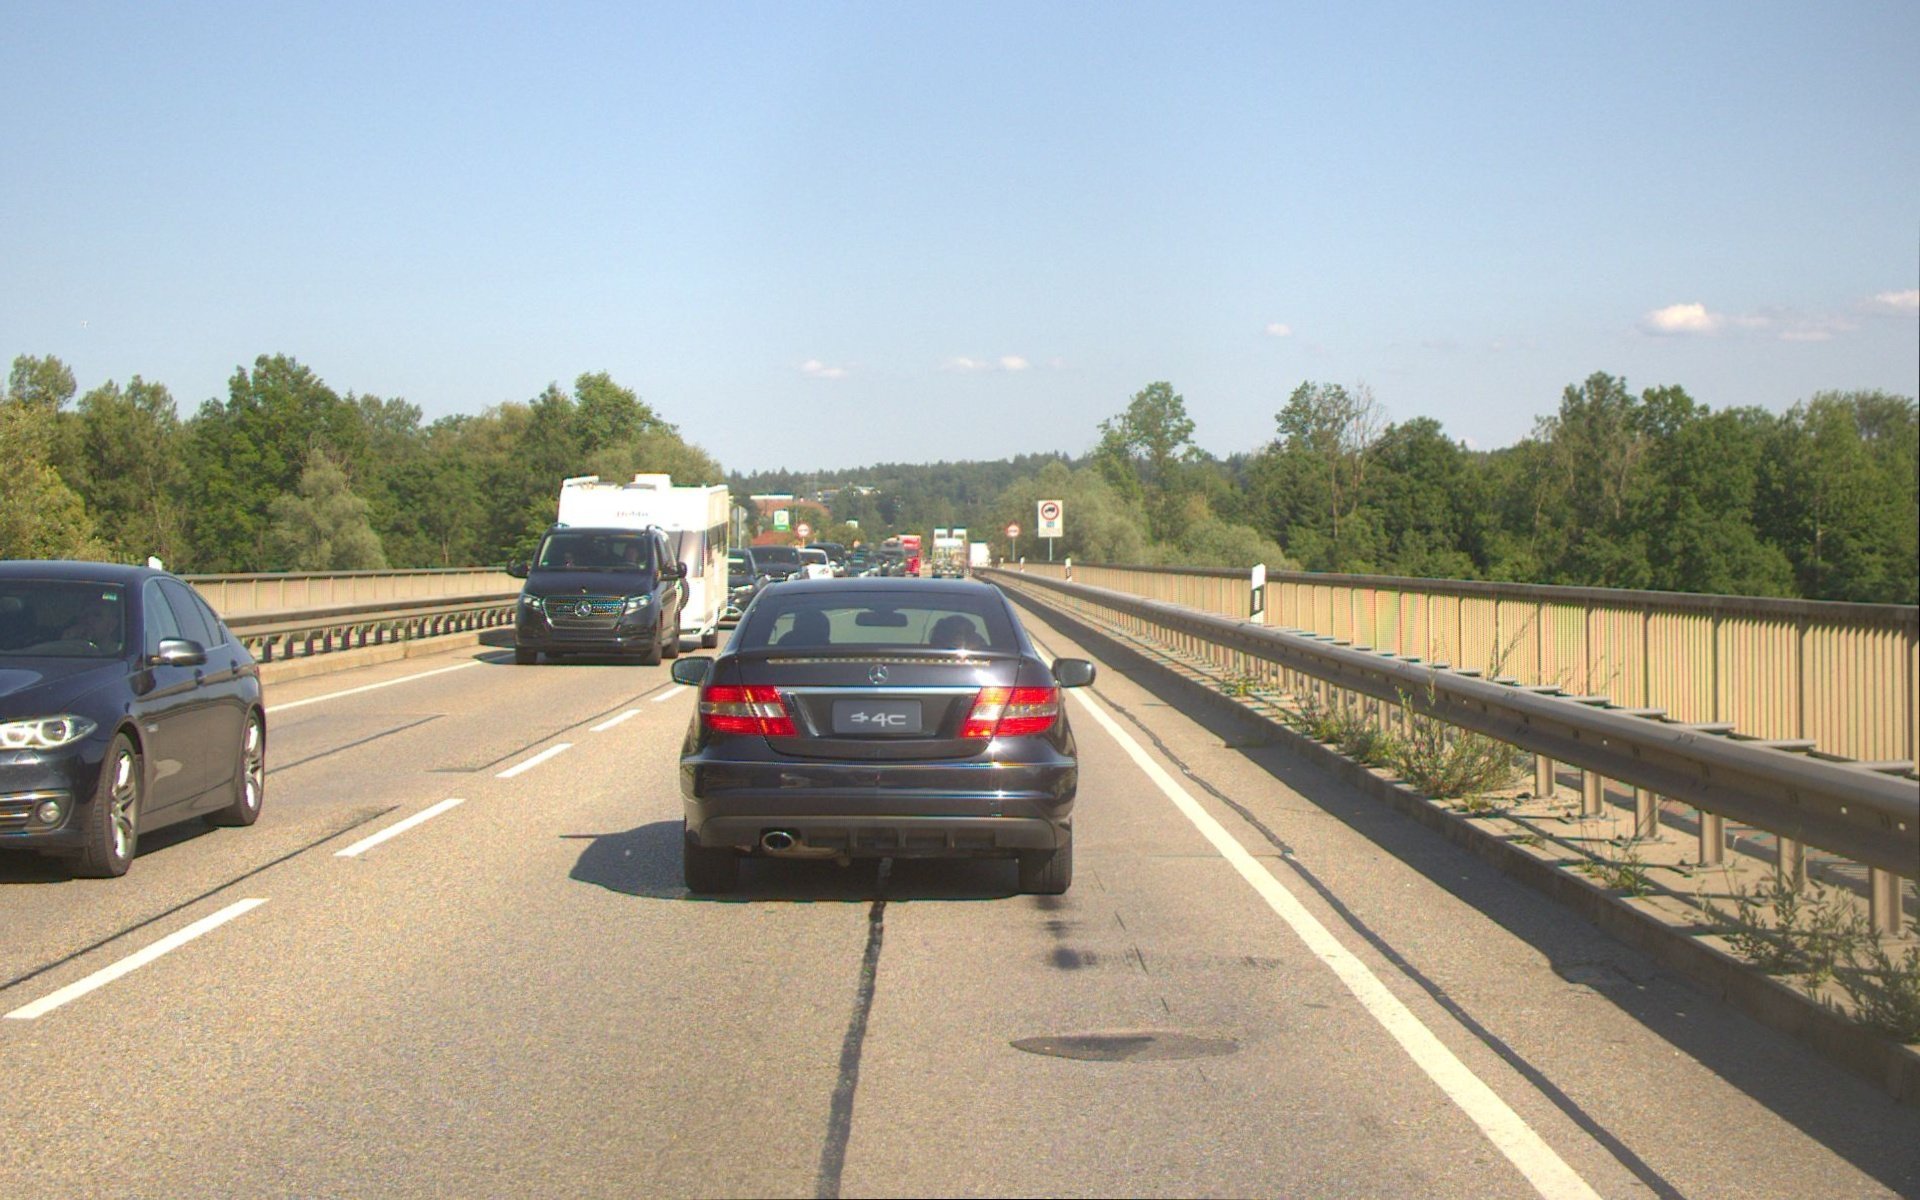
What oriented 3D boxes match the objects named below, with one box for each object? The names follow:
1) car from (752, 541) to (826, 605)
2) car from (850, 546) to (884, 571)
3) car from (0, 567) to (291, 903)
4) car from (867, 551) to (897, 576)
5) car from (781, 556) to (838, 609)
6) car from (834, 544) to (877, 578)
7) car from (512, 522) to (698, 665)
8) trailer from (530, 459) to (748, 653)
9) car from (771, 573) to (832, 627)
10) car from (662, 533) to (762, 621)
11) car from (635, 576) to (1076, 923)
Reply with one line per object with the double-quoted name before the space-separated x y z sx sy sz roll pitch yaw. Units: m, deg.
"car" -4.673 -0.753 93.554 1.949 1.688 4.477 0 1 -3
"car" -5.571 -2.476 205.375 1.866 1.439 4.457 0 1 -3
"car" -4.681 0.560 17.014 1.786 1.415 4.651 0 1 1
"car" -5.057 -2.379 222.972 1.806 1.572 4.202 0 1 -4
"car" -5.738 -0.694 130.393 2.037 1.867 5.070 2 1 -3
"car" -4.644 -1.731 152.093 1.765 1.442 4.457 0 1 -3
"car" -4.794 -0.117 47.086 1.983 1.848 5.008 0 1 1
"trailer" -4.875 -0.701 53.575 2.555 2.728 8.063 1 1 0
"car" -5.411 -0.017 116.842 1.983 1.645 4.598 2 1 -3
"car" -4.949 -0.490 69.097 1.802 1.655 4.434 2 1 -2
"car" -0.429 0.599 16.071 1.793 1.371 4.000 0 1 0
